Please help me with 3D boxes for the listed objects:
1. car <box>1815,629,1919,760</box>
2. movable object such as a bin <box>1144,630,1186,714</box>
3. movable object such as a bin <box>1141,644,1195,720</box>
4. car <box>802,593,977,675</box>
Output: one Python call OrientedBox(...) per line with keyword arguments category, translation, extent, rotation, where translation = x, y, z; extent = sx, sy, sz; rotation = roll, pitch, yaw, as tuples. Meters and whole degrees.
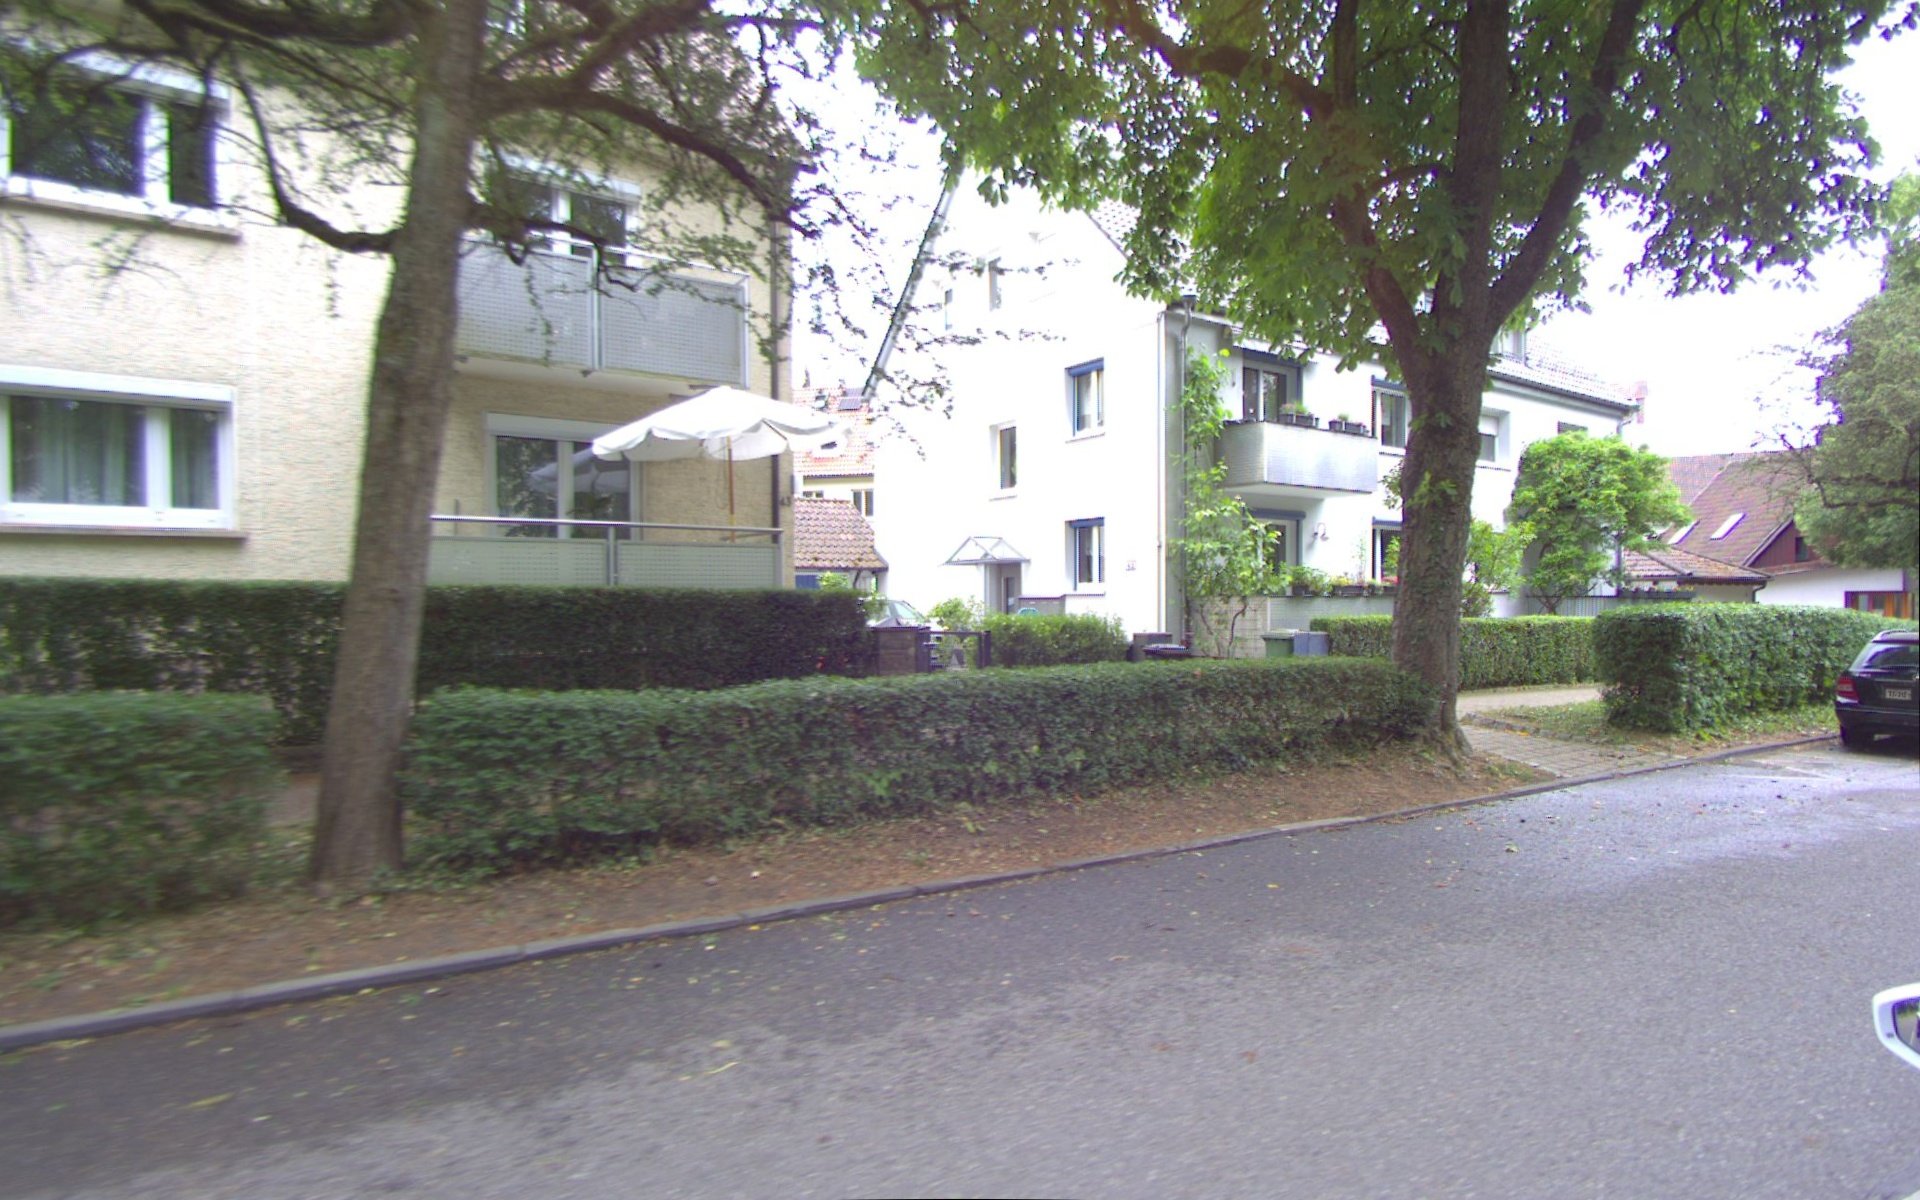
OrientedBox(category="car", translation=(12.765, 1.137, 12.837), extent=(4.374, 1.492, 1.783), rotation=(1, -2, -35))
OrientedBox(category="movable object such as a bin", translation=(2.724, 0.948, 13.377), extent=(0.402, 1.103, 0.377), rotation=(1, -2, -38))
OrientedBox(category="movable object such as a bin", translation=(2.624, 1.019, 12.689), extent=(0.504, 0.927, 0.452), rotation=(1, -2, -39))
OrientedBox(category="car", translation=(-1.570, 0.689, 21.014), extent=(1.784, 1.530, 3.957), rotation=(1, -2, -38))
